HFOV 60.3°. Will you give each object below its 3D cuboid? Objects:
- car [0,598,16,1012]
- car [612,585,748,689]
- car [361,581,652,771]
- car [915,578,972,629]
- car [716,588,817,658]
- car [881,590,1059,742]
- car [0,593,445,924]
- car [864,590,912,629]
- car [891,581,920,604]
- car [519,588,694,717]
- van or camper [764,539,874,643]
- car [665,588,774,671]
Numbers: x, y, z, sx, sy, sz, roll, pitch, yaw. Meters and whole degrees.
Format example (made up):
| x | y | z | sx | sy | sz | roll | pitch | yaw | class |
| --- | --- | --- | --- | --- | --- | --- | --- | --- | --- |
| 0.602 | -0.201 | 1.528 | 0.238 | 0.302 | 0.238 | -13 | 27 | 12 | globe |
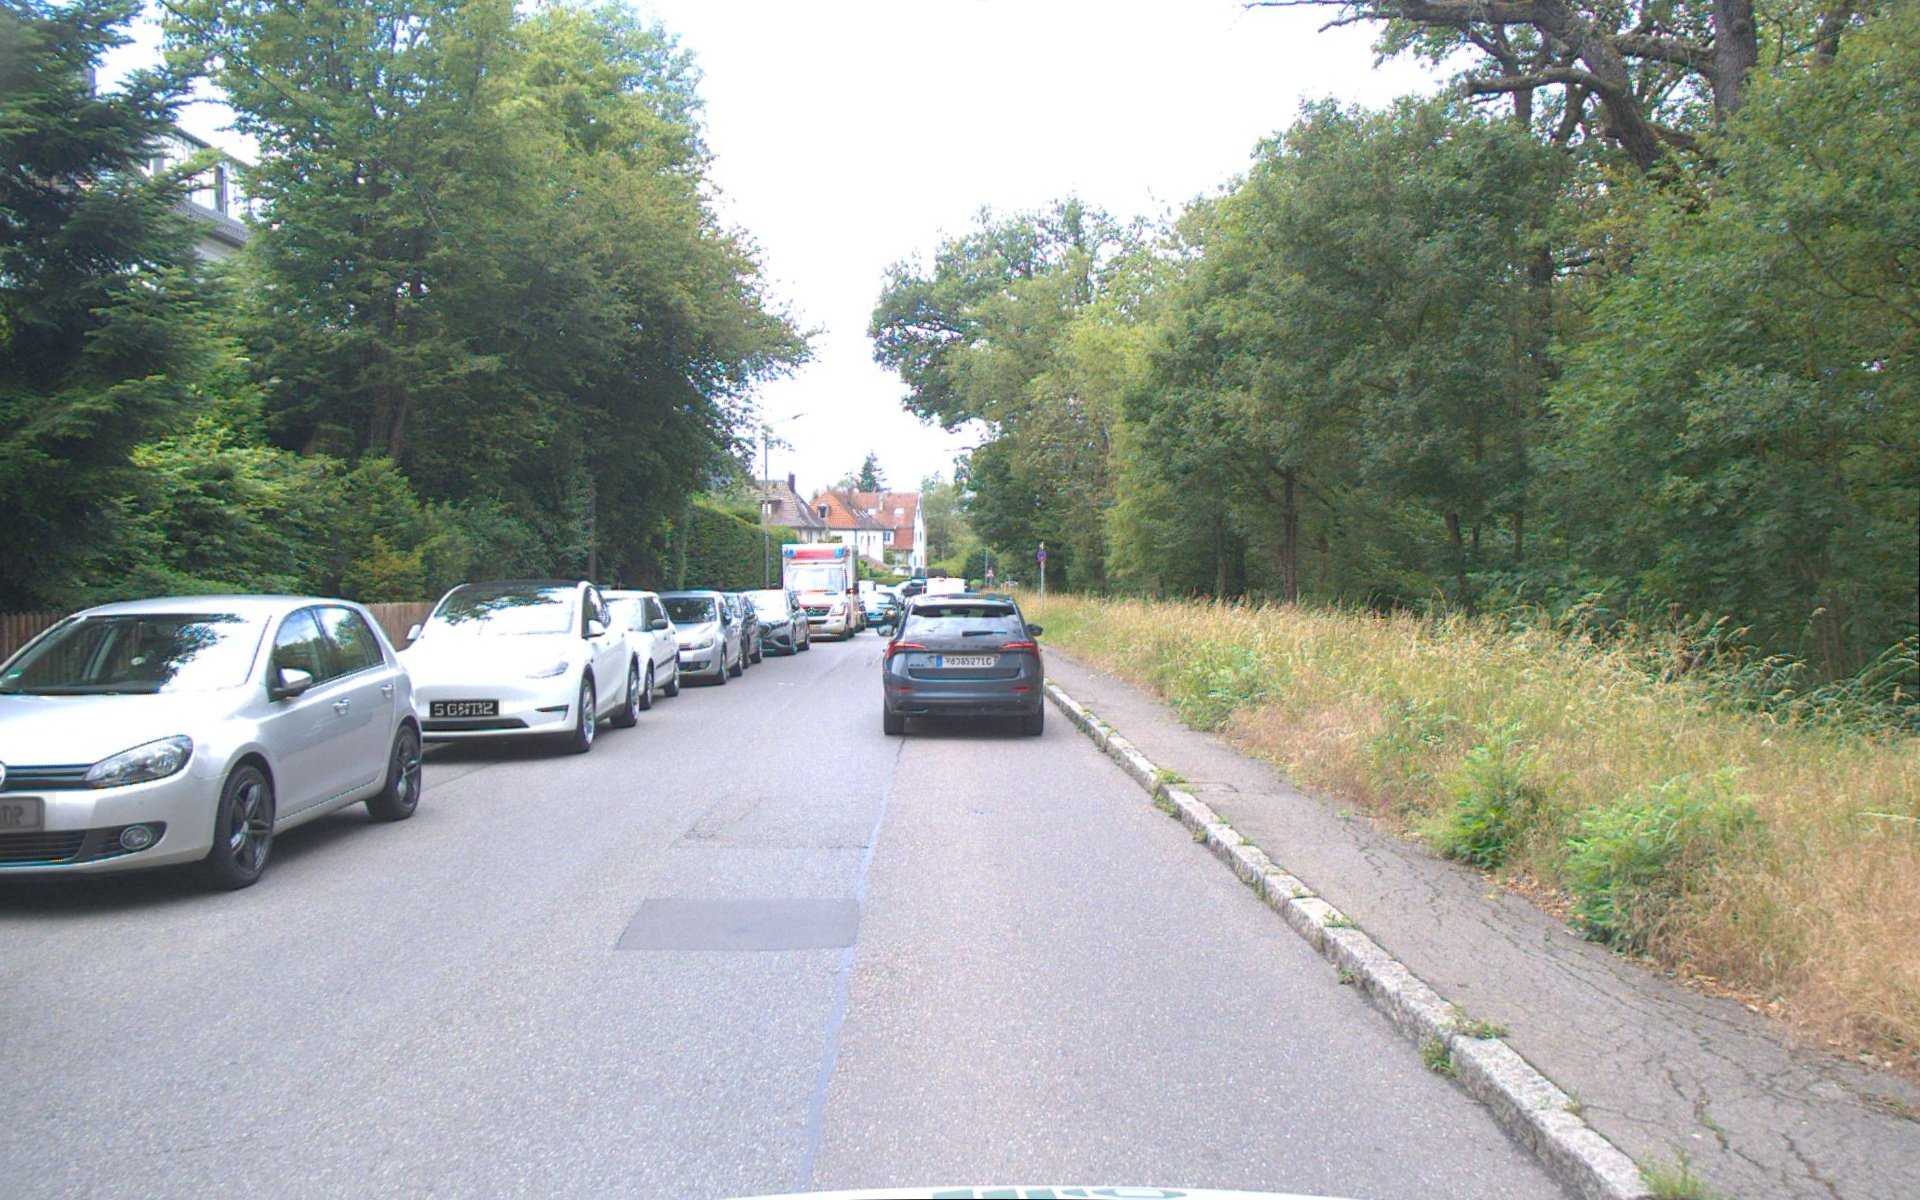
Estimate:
| x | y | z | sx | sy | sz | roll | pitch | yaw | class |
| --- | --- | --- | --- | --- | --- | --- | --- | --- | --- |
| -4.126 | 0.748 | 3.777 | 1.700 | 1.464 | 4.259 | -1 | 0 | -4 | car |
| -4.515 | 0.555 | 27.188 | 1.686 | 1.531 | 4.006 | -2 | 0 | -3 | car |
| -4.395 | 0.644 | 16.773 | 1.878 | 1.589 | 4.601 | -2 | 1 | -3 | car |
| -0.712 | 0.120 | 67.162 | 2.031 | 1.956 | 4.918 | 1 | 1 | -4 | car |
| -4.589 | 0.507 | 39.847 | 1.761 | 1.531 | 4.863 | -2 | 0 | 1 | car |
| -0.002 | 0.646 | 18.663 | 1.694 | 1.464 | 4.320 | 1 | 1 | -4 | car |
| -4.477 | 0.715 | 9.472 | 1.797 | 1.464 | 4.116 | -1 | 0 | -1 | car |
| -2.870 | 0.356 | 66.604 | 1.727 | 1.471 | 4.473 | -1 | 0 | 0 | car |
| -3.566 | -0.519 | 108.107 | 1.825 | 1.439 | 4.591 | 1 | 0 | -2 | car |
| -4.674 | 0.632 | 22.356 | 1.686 | 1.531 | 3.815 | -2 | 1 | -3 | car |
| -4.196 | -0.284 | 50.557 | 2.405 | 2.945 | 7.171 | -1 | 0 | 3 | van or camper |
| -4.855 | 0.561 | 33.837 | 1.685 | 1.531 | 4.059 | -2 | 0 | -2 | car |
